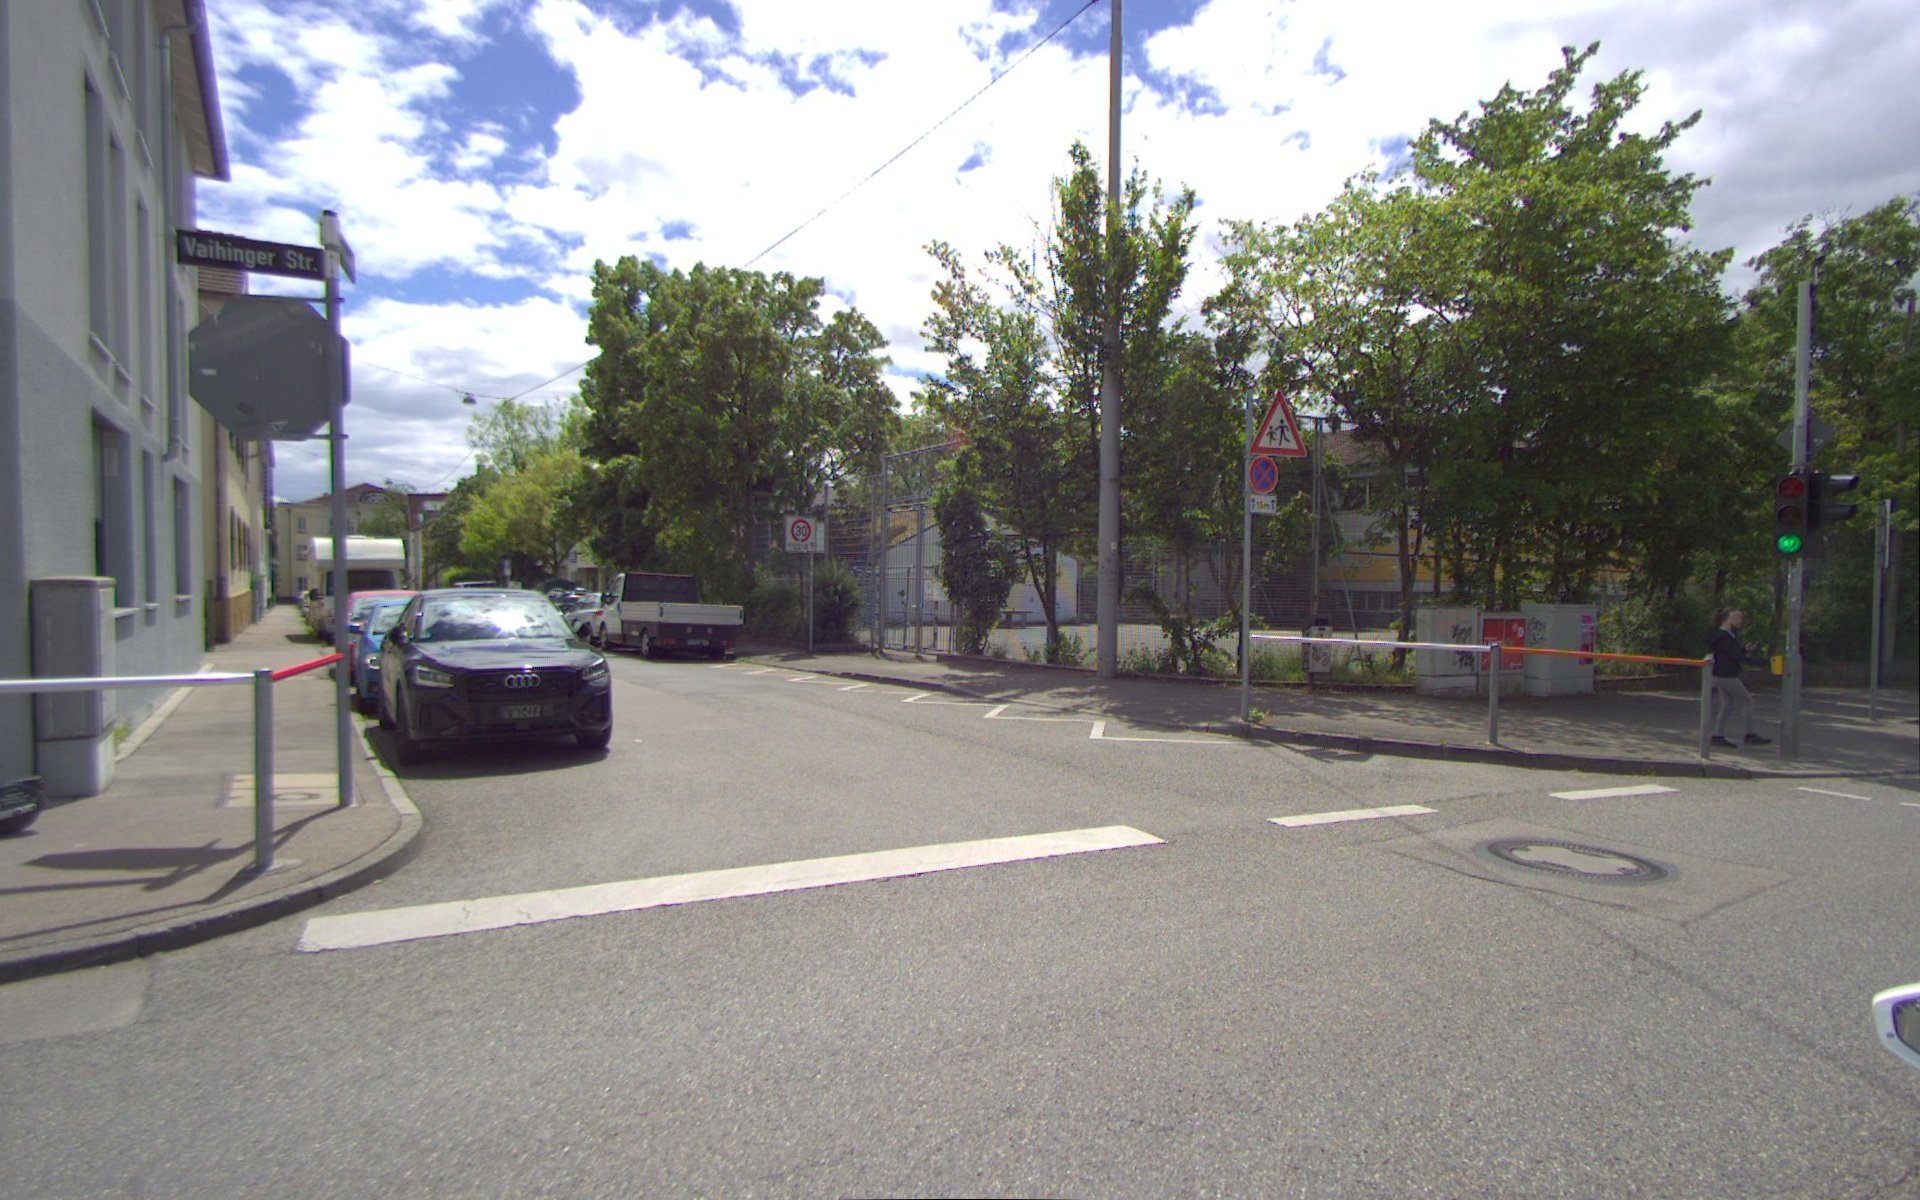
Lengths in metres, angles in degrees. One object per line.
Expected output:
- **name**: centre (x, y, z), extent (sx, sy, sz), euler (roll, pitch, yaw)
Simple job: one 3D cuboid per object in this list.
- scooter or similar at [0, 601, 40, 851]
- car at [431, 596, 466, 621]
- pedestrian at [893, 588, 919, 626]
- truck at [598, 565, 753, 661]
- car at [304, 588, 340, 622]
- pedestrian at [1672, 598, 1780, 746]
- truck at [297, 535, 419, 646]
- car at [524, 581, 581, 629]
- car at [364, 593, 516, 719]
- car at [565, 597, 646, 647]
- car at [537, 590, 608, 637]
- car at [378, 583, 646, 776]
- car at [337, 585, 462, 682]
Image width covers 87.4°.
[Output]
- **scooter or similar**: centre (-5.404, 0.639, 4.858), extent (0.482, 1.278, 1.305), euler (2, 0, 31)
- **car**: centre (-28.379, 0.470, 55.703), extent (1.277, 1.269, 3.020), euler (2, 0, -35)
- **pedestrian**: centre (-2.158, 0.294, 40.138), extent (0.698, 1.457, 0.738), euler (2, 2, -32)
- **truck**: centre (-6.995, 0.278, 24.273), extent (2.123, 2.062, 5.004), euler (2, 0, -34)
- **car**: centre (-32.643, 0.240, 51.386), extent (1.460, 1.663, 3.408), euler (2, 0, -34)
- **pedestrian**: centre (8.812, 0.797, 11.593), extent (0.757, 1.619, 0.672), euler (3, 1, 20)
- **truck**: centre (-18.487, -0.351, 30.625), extent (2.480, 2.966, 7.292), euler (-3, 3, -36)
- **car**: centre (-14.803, 0.172, 36.415), extent (1.277, 1.660, 3.020), euler (1, 0, -35)
- **car**: centre (-7.237, 0.648, 13.810), extent (1.583, 1.419, 3.762), euler (-1, 2, -31)
- **car**: centre (-10.123, 0.602, 28.602), extent (1.409, 1.311, 3.020), euler (2, 0, -35)
- **car**: centre (-12.367, 0.401, 31.966), extent (1.409, 1.405, 3.020), euler (2, 0, -35)
- **car**: centre (-4.685, 0.598, 10.184), extent (1.839, 1.497, 3.962), euler (-1, 2, -34)
- **car**: centre (-9.943, 0.497, 17.701), extent (1.535, 1.493, 3.576), euler (-2, 2, -35)
